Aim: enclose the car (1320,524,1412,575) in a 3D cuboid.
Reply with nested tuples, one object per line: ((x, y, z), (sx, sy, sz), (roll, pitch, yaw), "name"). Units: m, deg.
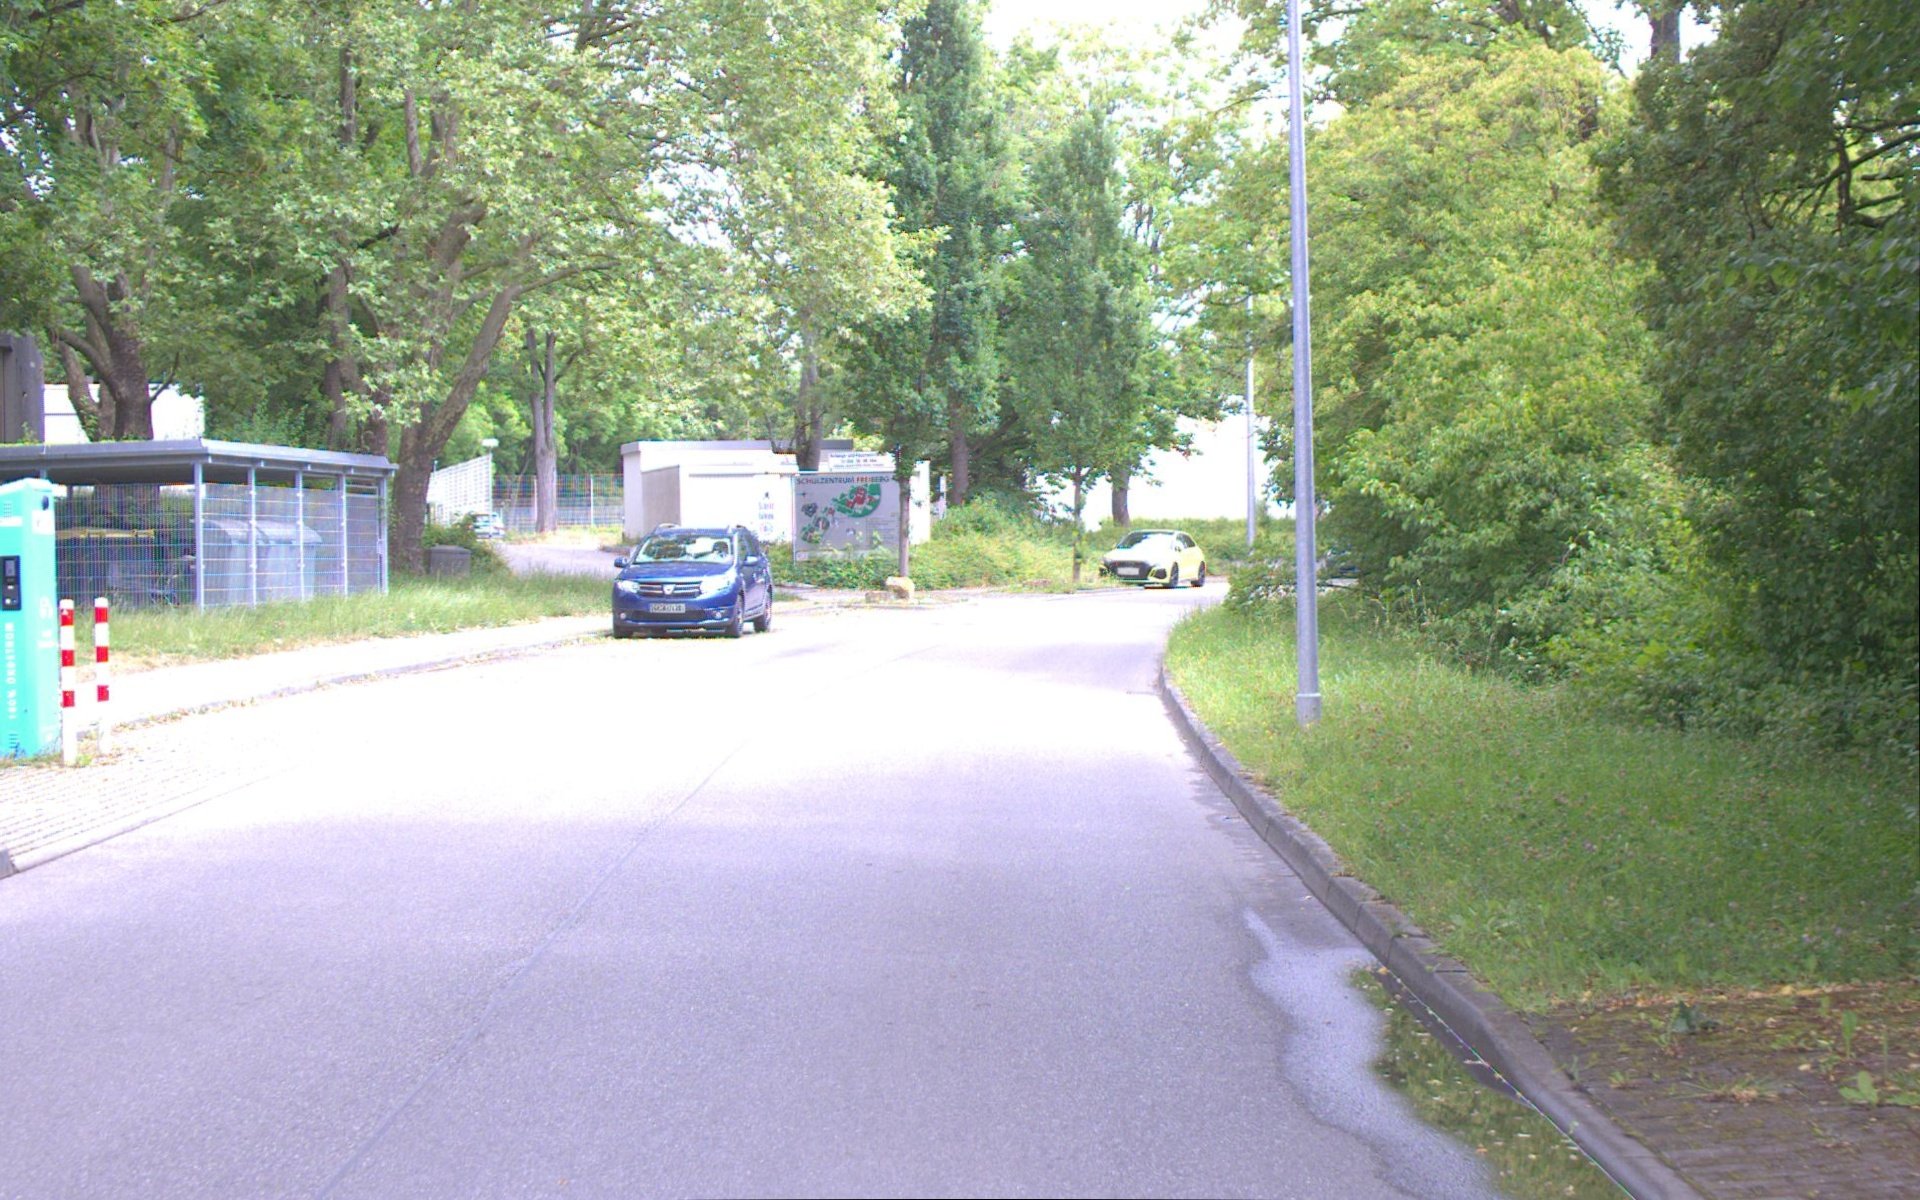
((11.977, -1.496, 101.164), (1.535, 1.454, 3.715), (1, 1, 26), "car")

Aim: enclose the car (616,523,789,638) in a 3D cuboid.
((-3.499, -0.298, 47.432), (1.680, 1.506, 4.430), (0, 1, 5), "car")

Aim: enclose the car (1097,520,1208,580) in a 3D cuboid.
((4.762, -1.227, 84.525), (1.701, 1.398, 4.270), (1, 1, 18), "car")
